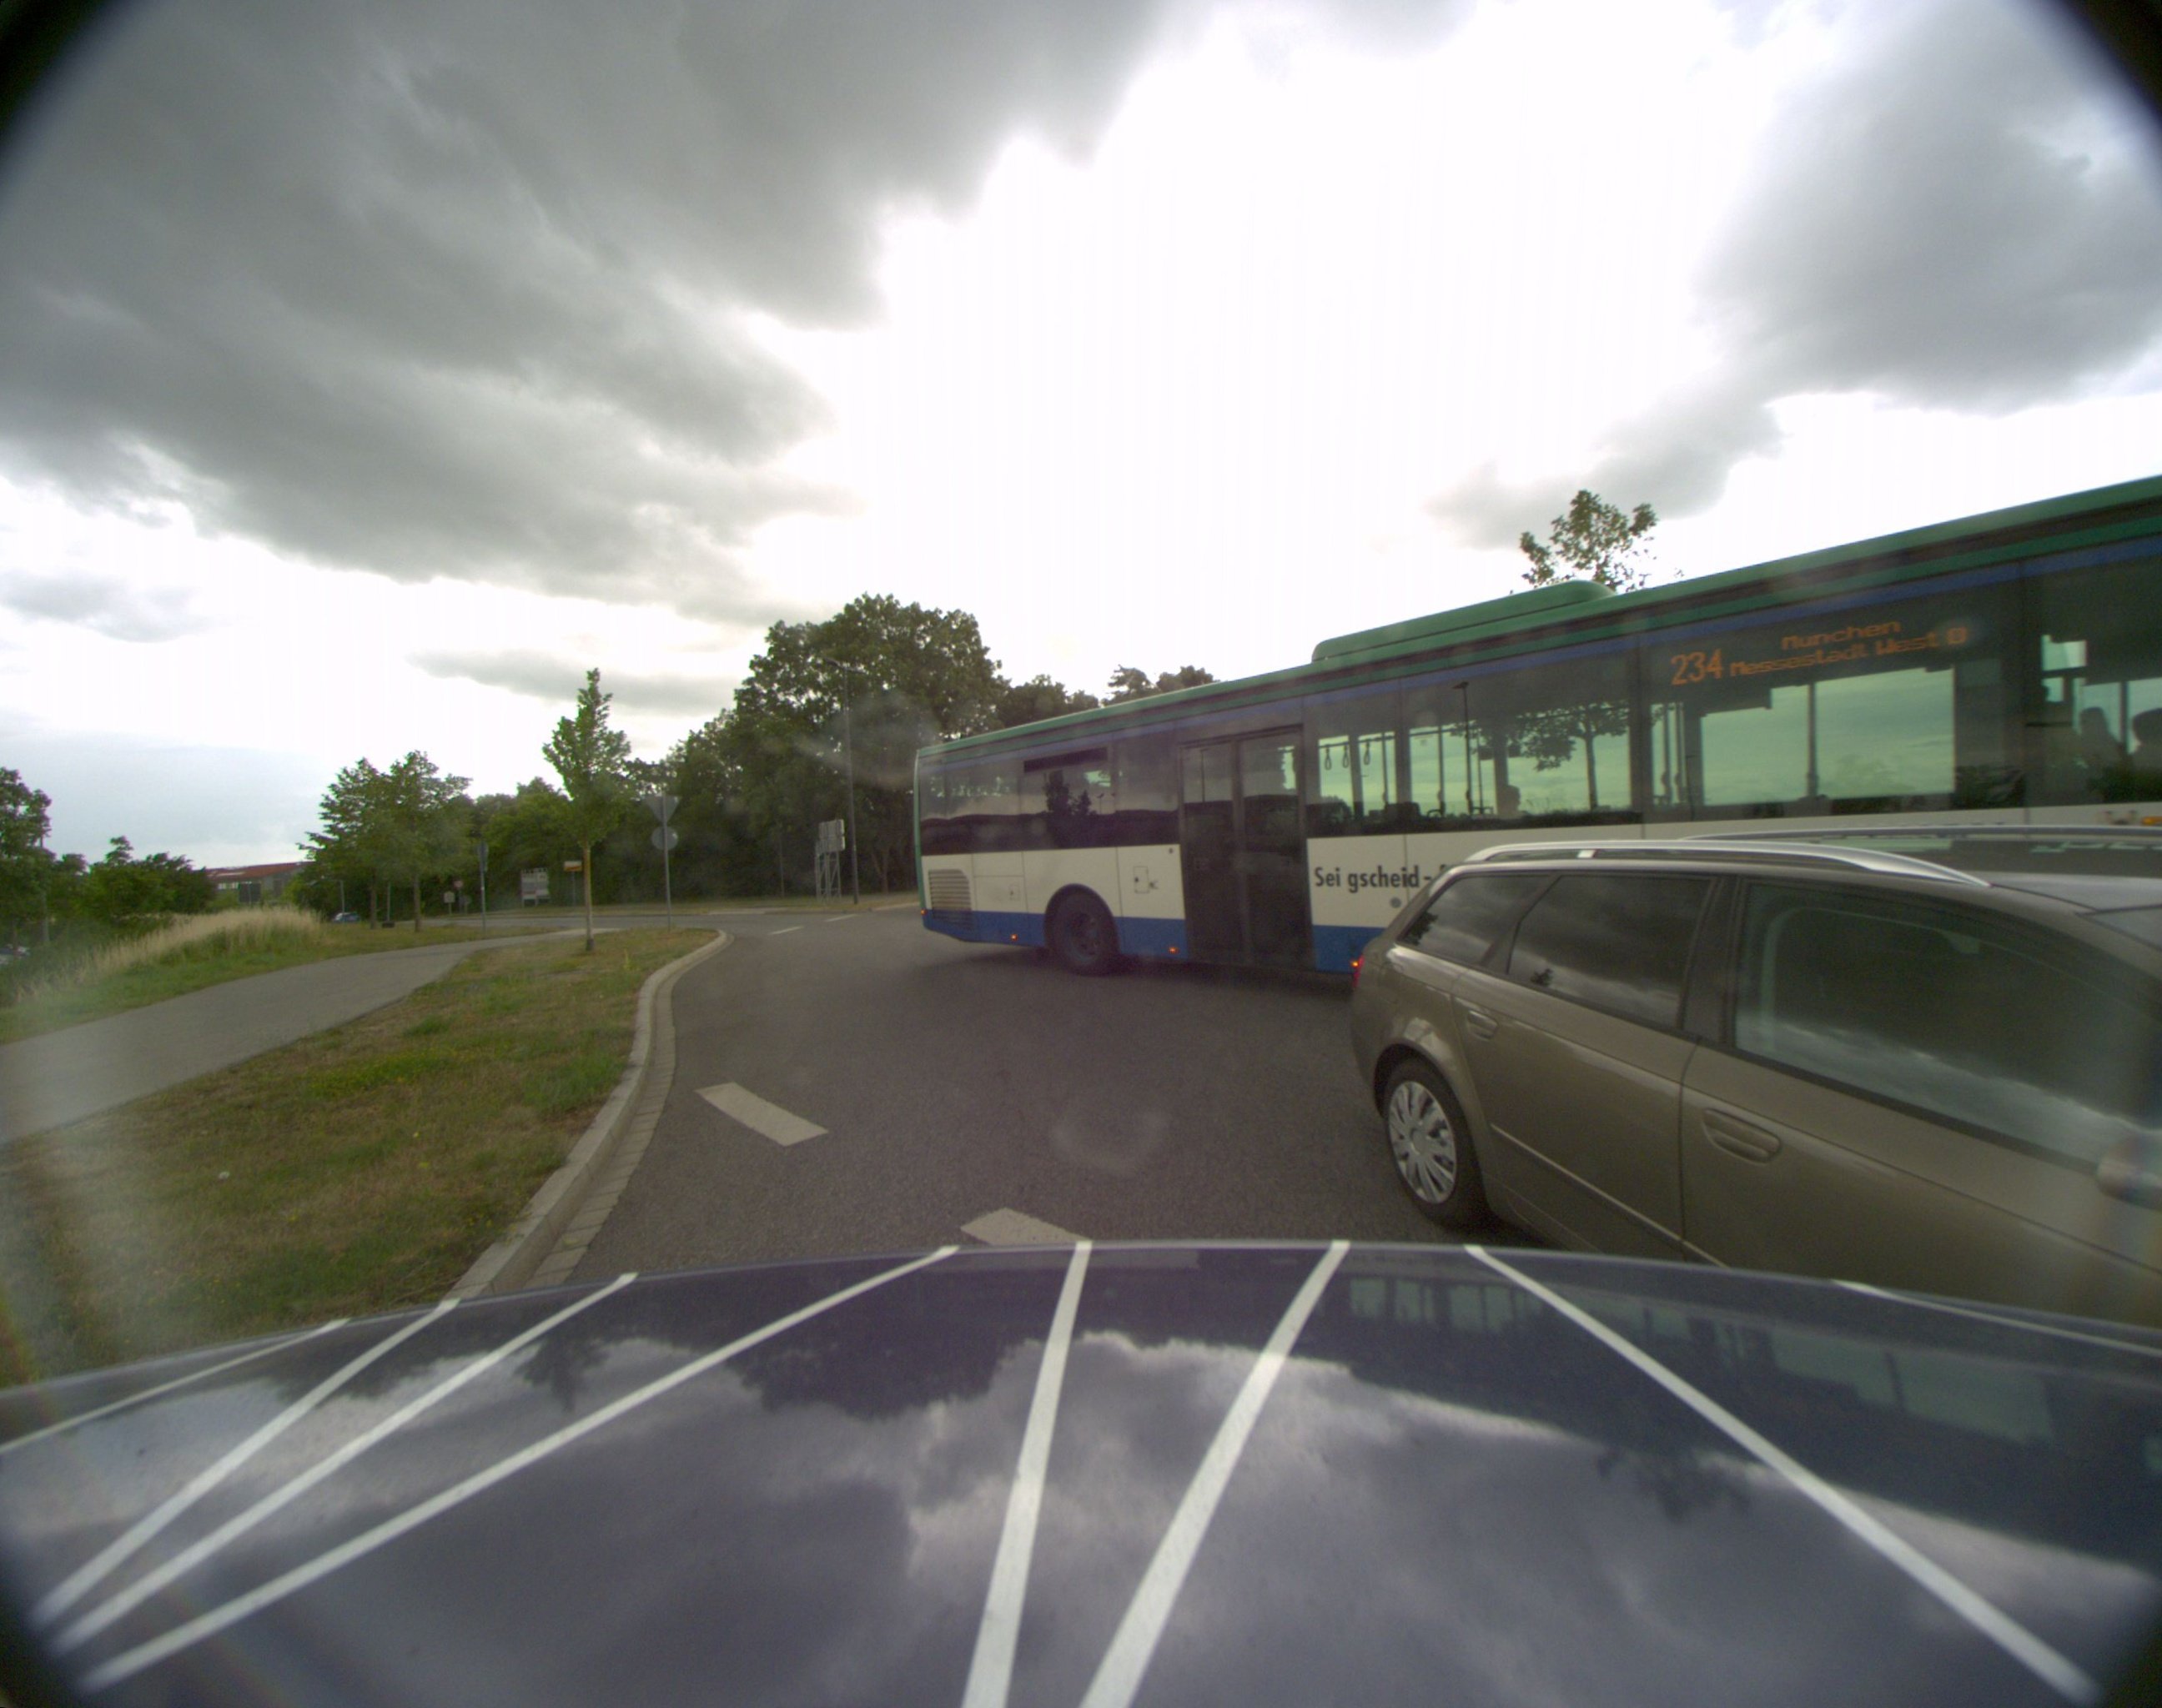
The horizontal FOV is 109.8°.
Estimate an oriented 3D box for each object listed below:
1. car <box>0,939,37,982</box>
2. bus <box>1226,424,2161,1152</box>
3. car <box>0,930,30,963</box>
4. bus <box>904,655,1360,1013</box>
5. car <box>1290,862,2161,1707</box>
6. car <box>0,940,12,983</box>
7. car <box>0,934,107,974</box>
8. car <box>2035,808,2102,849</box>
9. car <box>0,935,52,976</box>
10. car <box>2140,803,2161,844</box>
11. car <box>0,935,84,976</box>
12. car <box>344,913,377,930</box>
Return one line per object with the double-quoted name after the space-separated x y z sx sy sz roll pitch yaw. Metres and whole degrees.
-41.987 4.139 27.942 3.896 1.455 1.693 -3 0 -42 "car"
4.541 -0.302 5.487 2.530 3.239 6.530 -3 2 -44 "bus"
-53.294 4.573 35.958 1.879 1.435 4.007 -3 0 33 "car"
0.338 -0.191 9.710 2.530 3.239 5.445 -3 2 -44 "bus"
2.239 0.805 1.584 1.783 1.456 4.537 -3 0 -8 "car"
-39.833 3.918 25.702 3.896 1.455 1.693 -3 0 -42 "car"
-49.402 4.737 35.881 3.896 1.455 1.693 -3 0 -42 "car"
45.081 -1.182 34.669 4.006 1.544 1.712 -5 0 -36 "car"
-44.306 4.200 30.085 3.896 1.455 1.693 -3 0 -42 "car"
46.996 -1.379 32.582 4.006 1.544 1.712 -5 0 -36 "car"
-46.739 4.519 32.975 3.896 1.455 1.693 -3 0 -42 "car"
-73.333 6.901 77.287 4.072 1.422 1.766 -6 0 38 "car"
